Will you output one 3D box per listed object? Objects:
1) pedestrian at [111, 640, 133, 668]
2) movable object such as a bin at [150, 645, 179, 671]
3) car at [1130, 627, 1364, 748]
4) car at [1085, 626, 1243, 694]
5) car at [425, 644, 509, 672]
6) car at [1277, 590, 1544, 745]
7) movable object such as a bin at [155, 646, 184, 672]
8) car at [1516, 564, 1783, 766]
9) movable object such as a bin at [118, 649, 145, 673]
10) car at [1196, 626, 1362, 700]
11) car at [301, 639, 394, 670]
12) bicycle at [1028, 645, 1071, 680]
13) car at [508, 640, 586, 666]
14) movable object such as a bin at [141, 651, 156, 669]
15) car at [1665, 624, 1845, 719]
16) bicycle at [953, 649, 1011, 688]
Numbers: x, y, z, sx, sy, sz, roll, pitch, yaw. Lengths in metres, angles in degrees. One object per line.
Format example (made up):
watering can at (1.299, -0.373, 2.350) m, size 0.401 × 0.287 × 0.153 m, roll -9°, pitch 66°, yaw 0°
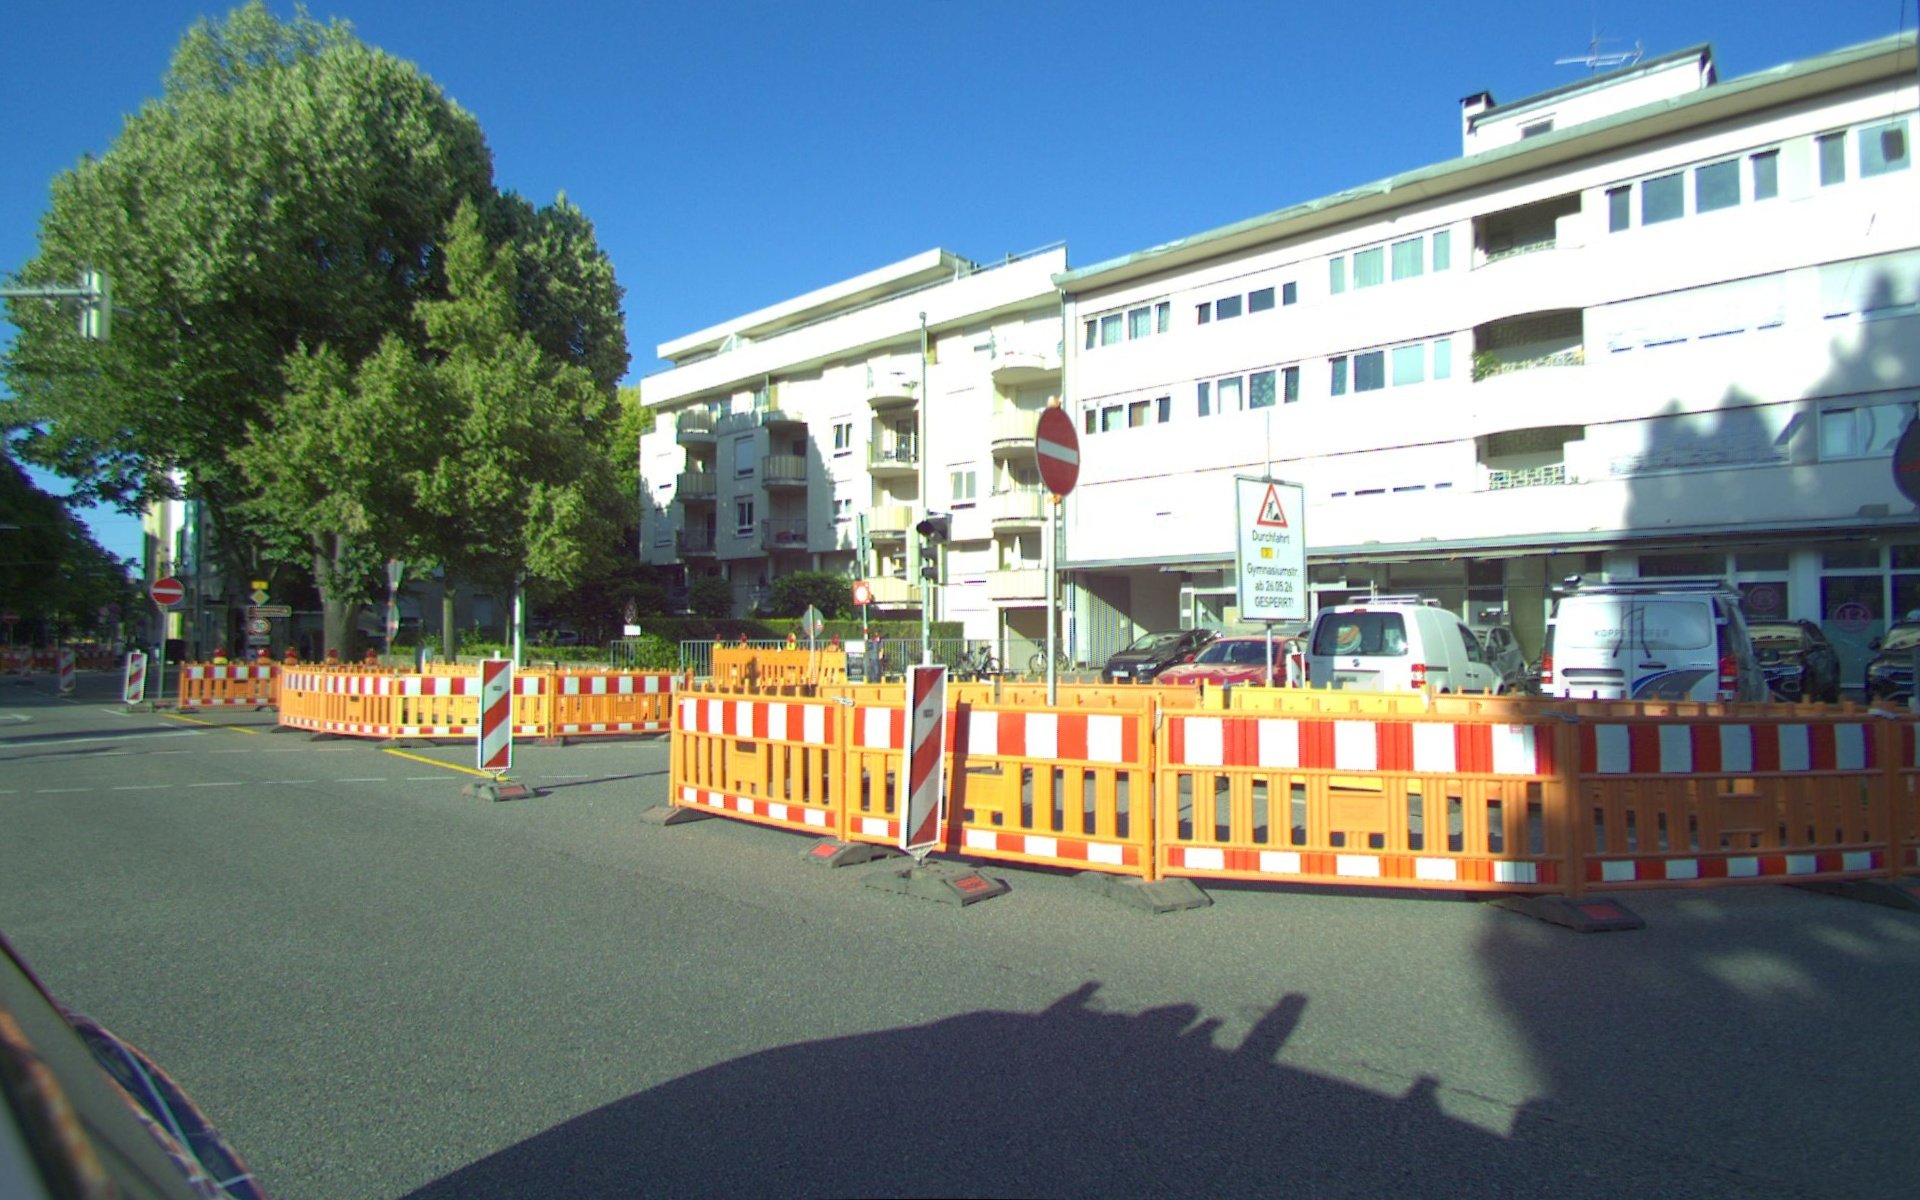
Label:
pedestrian at (-49.541, 3.190, 59.812) m, size 0.916 × 1.615 × 0.813 m, roll -3°, pitch -2°, yaw 37°
movable object such as a bin at (-45.897, 3.345, 58.388) m, size 1.406 × 1.442 × 1.071 m, roll -3°, pitch -2°, yaw 40°
car at (4.616, 1.263, 15.929) m, size 1.999 × 1.490 × 3.949 m, roll -3°, pitch -1°, yaw 41°
car at (5.393, 1.515, 26.464) m, size 4.264 × 1.523 × 2.001 m, roll 0°, pitch -2°, yaw -45°
car at (-28.372, 3.320, 58.310) m, size 2.001 × 1.497 × 3.941 m, roll -3°, pitch -4°, yaw 45°
car at (6.511, 0.841, 14.406) m, size 4.263 × 1.866 × 2.001 m, roll 0°, pitch -2°, yaw -44°
movable object such as a bin at (-44.654, 3.327, 57.173) m, size 1.344 × 1.442 × 1.071 m, roll -3°, pitch -2°, yaw 40°
car at (8.552, 0.673, 12.355) m, size 2.116 × 1.980 × 4.619 m, roll -3°, pitch -2°, yaw 41°
movable object such as a bin at (-51.636, 3.814, 63.104) m, size 1.067 × 1.442 × 1.411 m, roll -1°, pitch -2°, yaw -29°
car at (7.681, 1.448, 24.181) m, size 4.264 × 1.522 × 2.001 m, roll 0°, pitch -2°, yaw -45°
car at (-32.990, 2.924, 54.556) m, size 2.001 × 1.564 × 3.941 m, roll -3°, pitch -4°, yaw 45°
bicycle at (2.780, 1.953, 31.580) m, size 1.358 × 1.054 × 0.379 m, roll -3°, pitch -2°, yaw 43°
car at (-25.102, 3.204, 61.515) m, size 2.001 × 1.497 × 3.941 m, roll -3°, pitch -4°, yaw 45°
movable object such as a bin at (-48.005, 3.559, 59.843) m, size 0.629 × 1.049 × 0.764 m, roll 0°, pitch -2°, yaw -45°
car at (14.298, 1.193, 18.115) m, size 4.264 × 1.409 × 2.001 m, roll 0°, pitch -2°, yaw -45°
bicycle at (0.670, 2.012, 30.040) m, size 2.004 × 1.034 × 0.385 m, roll 0°, pitch -2°, yaw -43°
